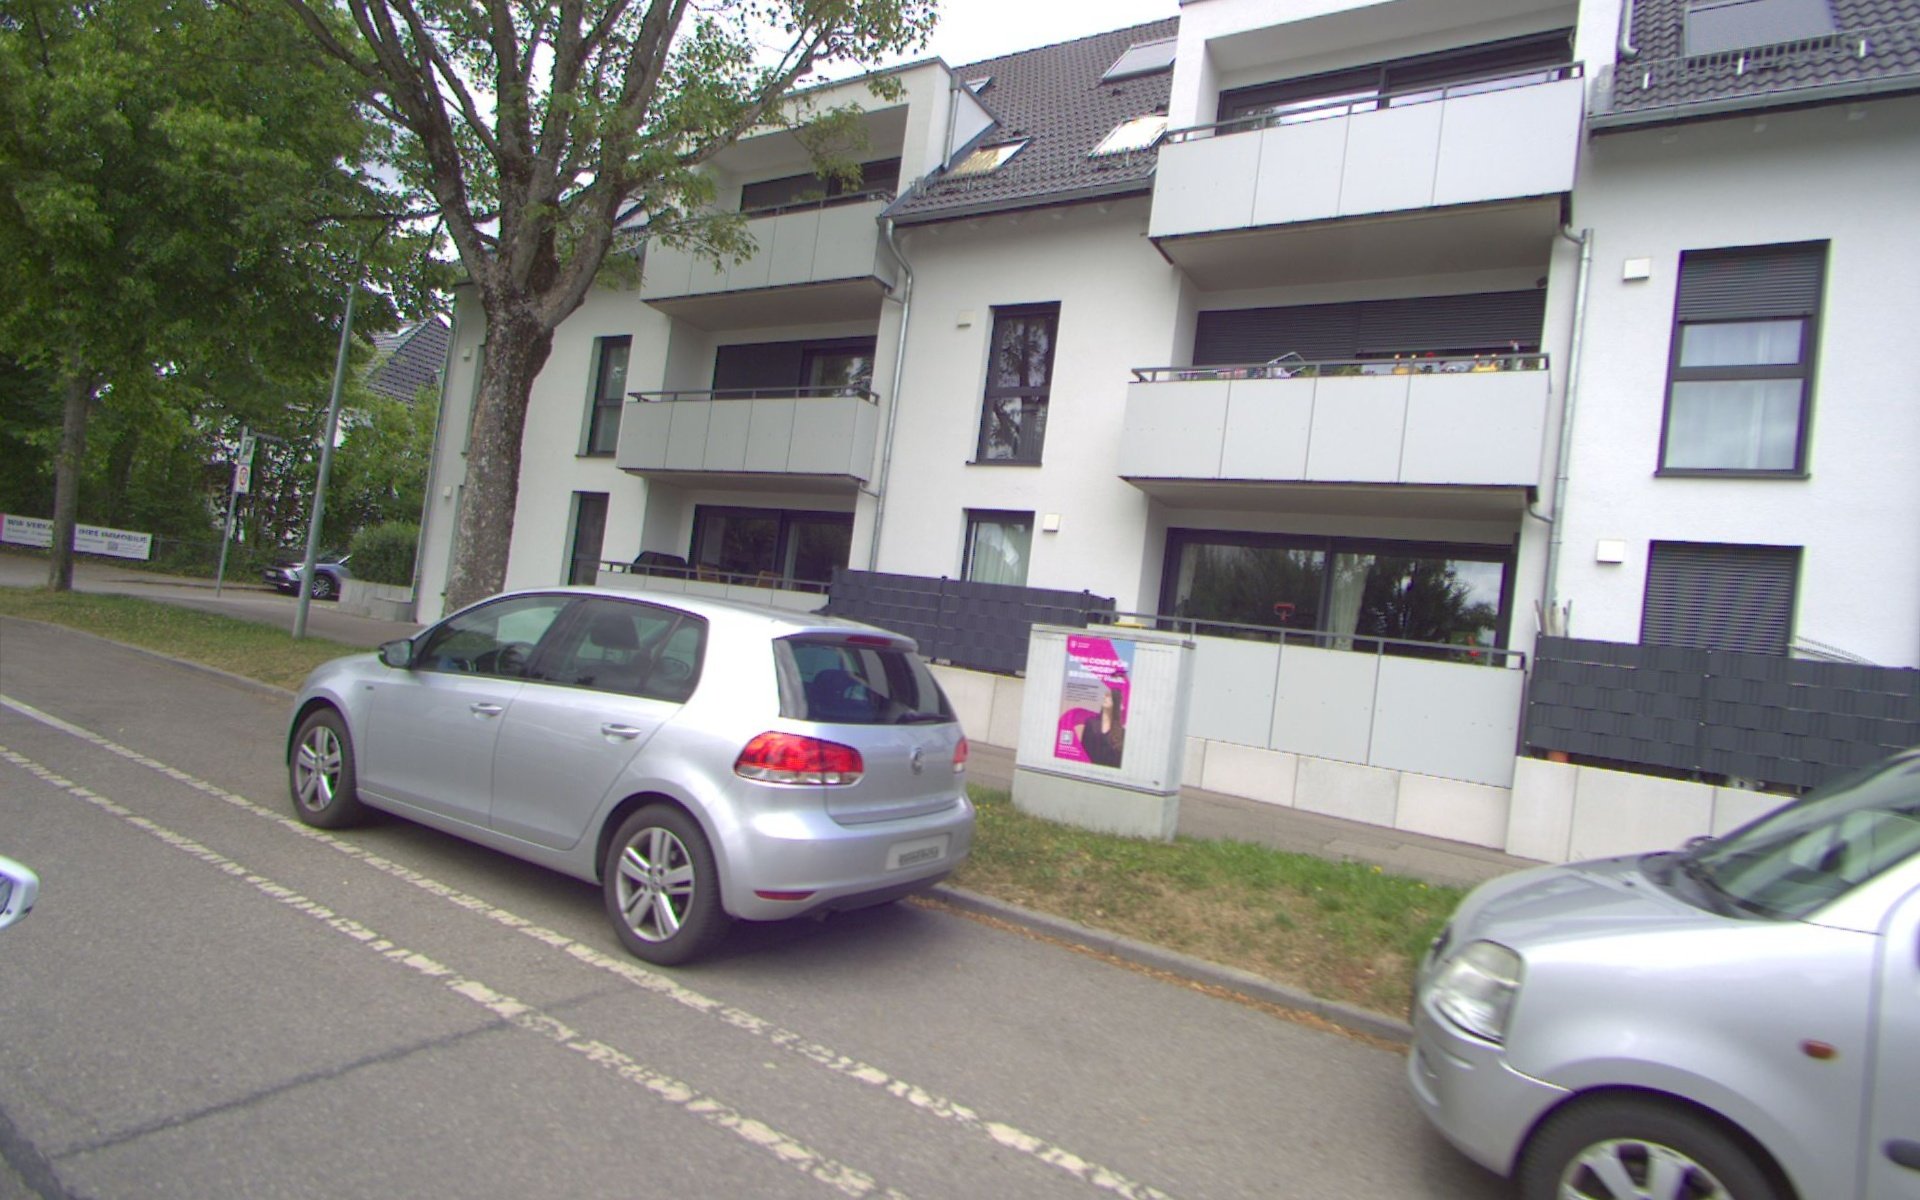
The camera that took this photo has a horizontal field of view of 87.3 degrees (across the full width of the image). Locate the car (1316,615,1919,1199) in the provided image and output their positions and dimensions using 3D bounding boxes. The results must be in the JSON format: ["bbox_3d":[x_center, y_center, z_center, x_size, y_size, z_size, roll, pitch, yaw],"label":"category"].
[{"bbox_3d":[3.037,1.131,2.602,3.587,1.685,1.635,7,-2,32],"label":"car"}]

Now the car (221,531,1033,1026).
[{"bbox_3d":[-1.917,0.634,5.363,4.157,1.510,1.690,6,-1,31],"label":"car"}]

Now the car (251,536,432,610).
[{"bbox_3d":[-17.656,-0.737,28.915,1.762,1.476,3.998,8,-2,28],"label":"car"}]
